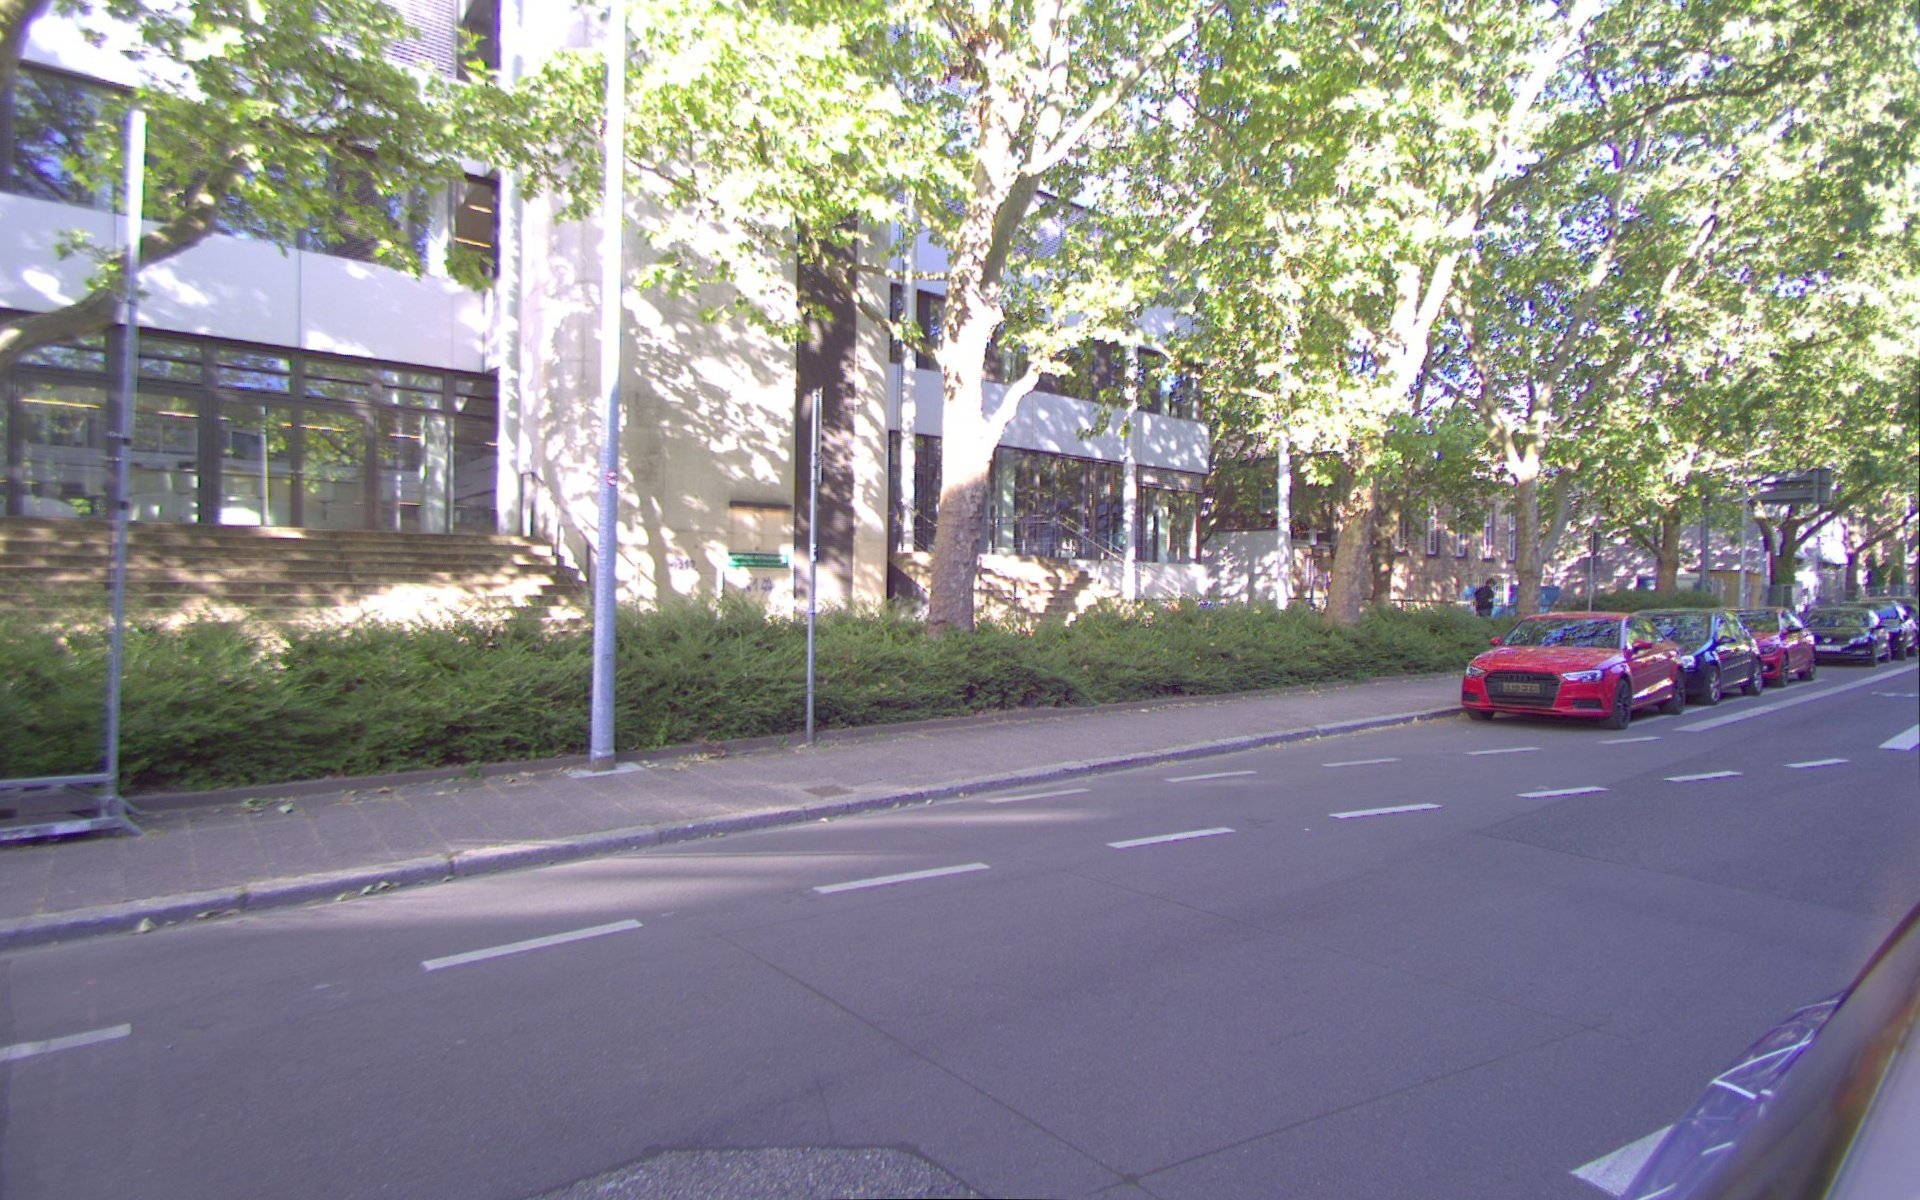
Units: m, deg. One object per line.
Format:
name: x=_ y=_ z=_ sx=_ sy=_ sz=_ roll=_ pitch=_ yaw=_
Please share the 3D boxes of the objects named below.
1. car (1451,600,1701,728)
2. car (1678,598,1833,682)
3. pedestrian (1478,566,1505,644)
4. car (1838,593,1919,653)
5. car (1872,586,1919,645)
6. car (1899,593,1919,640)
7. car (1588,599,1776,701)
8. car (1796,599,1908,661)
car: x=8.301 y=0.734 z=13.513 sx=3.931 sy=1.409 sz=1.792 roll=-1 pitch=0 yaw=-42
car: x=15.743 y=0.704 z=19.970 sx=3.854 sy=1.467 sz=1.691 roll=-1 pitch=0 yaw=-40
pedestrian: x=14.123 y=0.120 z=26.905 sx=0.549 sy=2.039 sz=0.555 roll=0 pitch=0 yaw=38
car: x=26.633 y=0.599 z=29.042 sx=4.158 sy=1.598 sz=1.632 roll=-1 pitch=0 yaw=-41
car: x=31.172 y=0.468 z=33.011 sx=4.497 sy=1.814 sz=1.632 roll=-1 pitch=0 yaw=-41
car: x=35.535 y=0.567 z=36.782 sx=4.497 sy=1.633 sz=1.632 roll=-1 pitch=0 yaw=-41
car: x=11.855 y=0.727 z=16.543 sx=3.632 sy=1.436 sz=1.668 roll=-1 pitch=0 yaw=-40
car: x=22.948 y=0.707 z=25.985 sx=3.855 sy=1.441 sz=1.691 roll=-1 pitch=0 yaw=-41
